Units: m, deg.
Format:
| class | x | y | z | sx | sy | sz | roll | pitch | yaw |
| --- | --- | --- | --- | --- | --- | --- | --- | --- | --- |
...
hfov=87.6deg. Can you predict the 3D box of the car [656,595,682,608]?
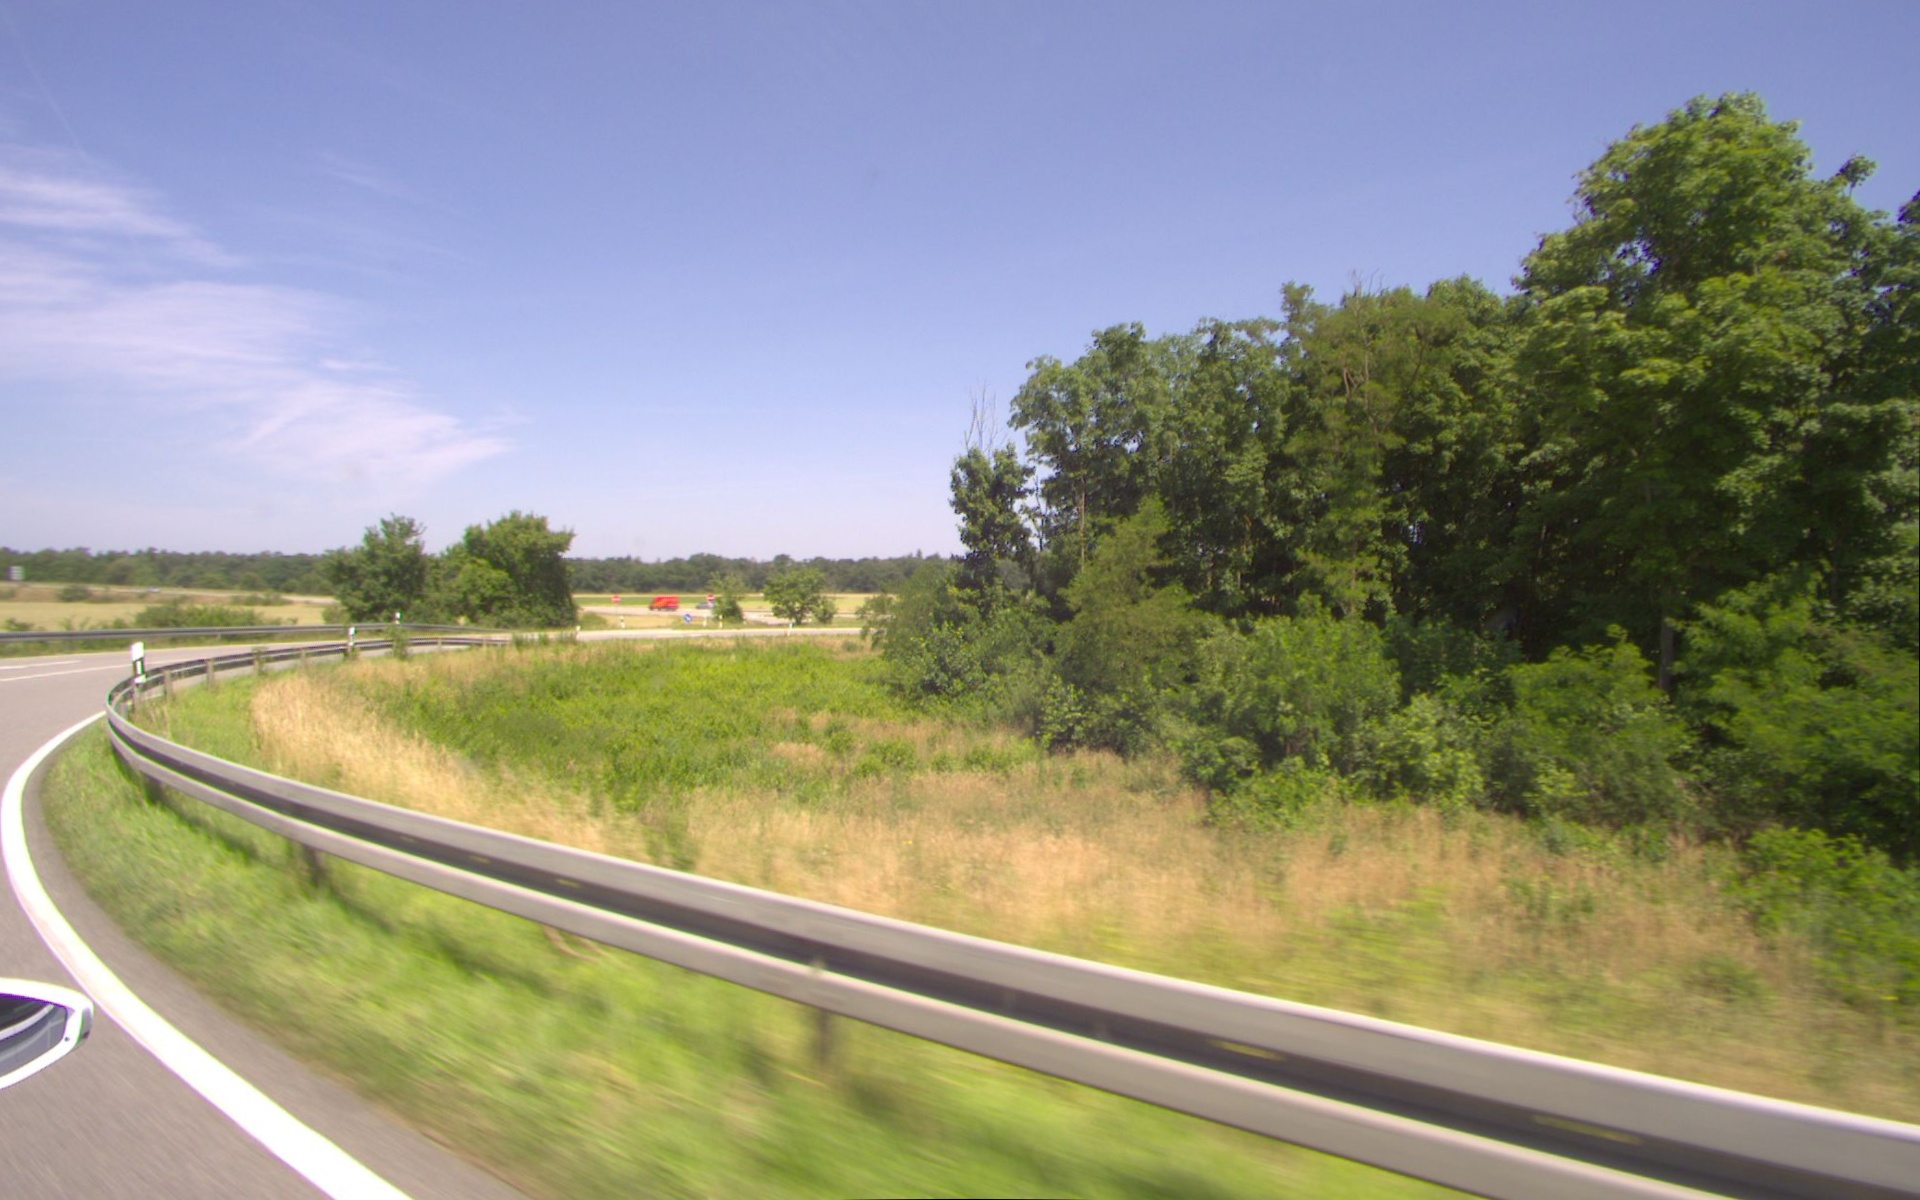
| class | x | y | z | sx | sy | sz | roll | pitch | yaw |
| --- | --- | --- | --- | --- | --- | --- | --- | --- | --- |
| car | -50.192 | 0.205 | 172.617 | 4.186 | 2.039 | 2.009 | -2 | -2 | 32 |
